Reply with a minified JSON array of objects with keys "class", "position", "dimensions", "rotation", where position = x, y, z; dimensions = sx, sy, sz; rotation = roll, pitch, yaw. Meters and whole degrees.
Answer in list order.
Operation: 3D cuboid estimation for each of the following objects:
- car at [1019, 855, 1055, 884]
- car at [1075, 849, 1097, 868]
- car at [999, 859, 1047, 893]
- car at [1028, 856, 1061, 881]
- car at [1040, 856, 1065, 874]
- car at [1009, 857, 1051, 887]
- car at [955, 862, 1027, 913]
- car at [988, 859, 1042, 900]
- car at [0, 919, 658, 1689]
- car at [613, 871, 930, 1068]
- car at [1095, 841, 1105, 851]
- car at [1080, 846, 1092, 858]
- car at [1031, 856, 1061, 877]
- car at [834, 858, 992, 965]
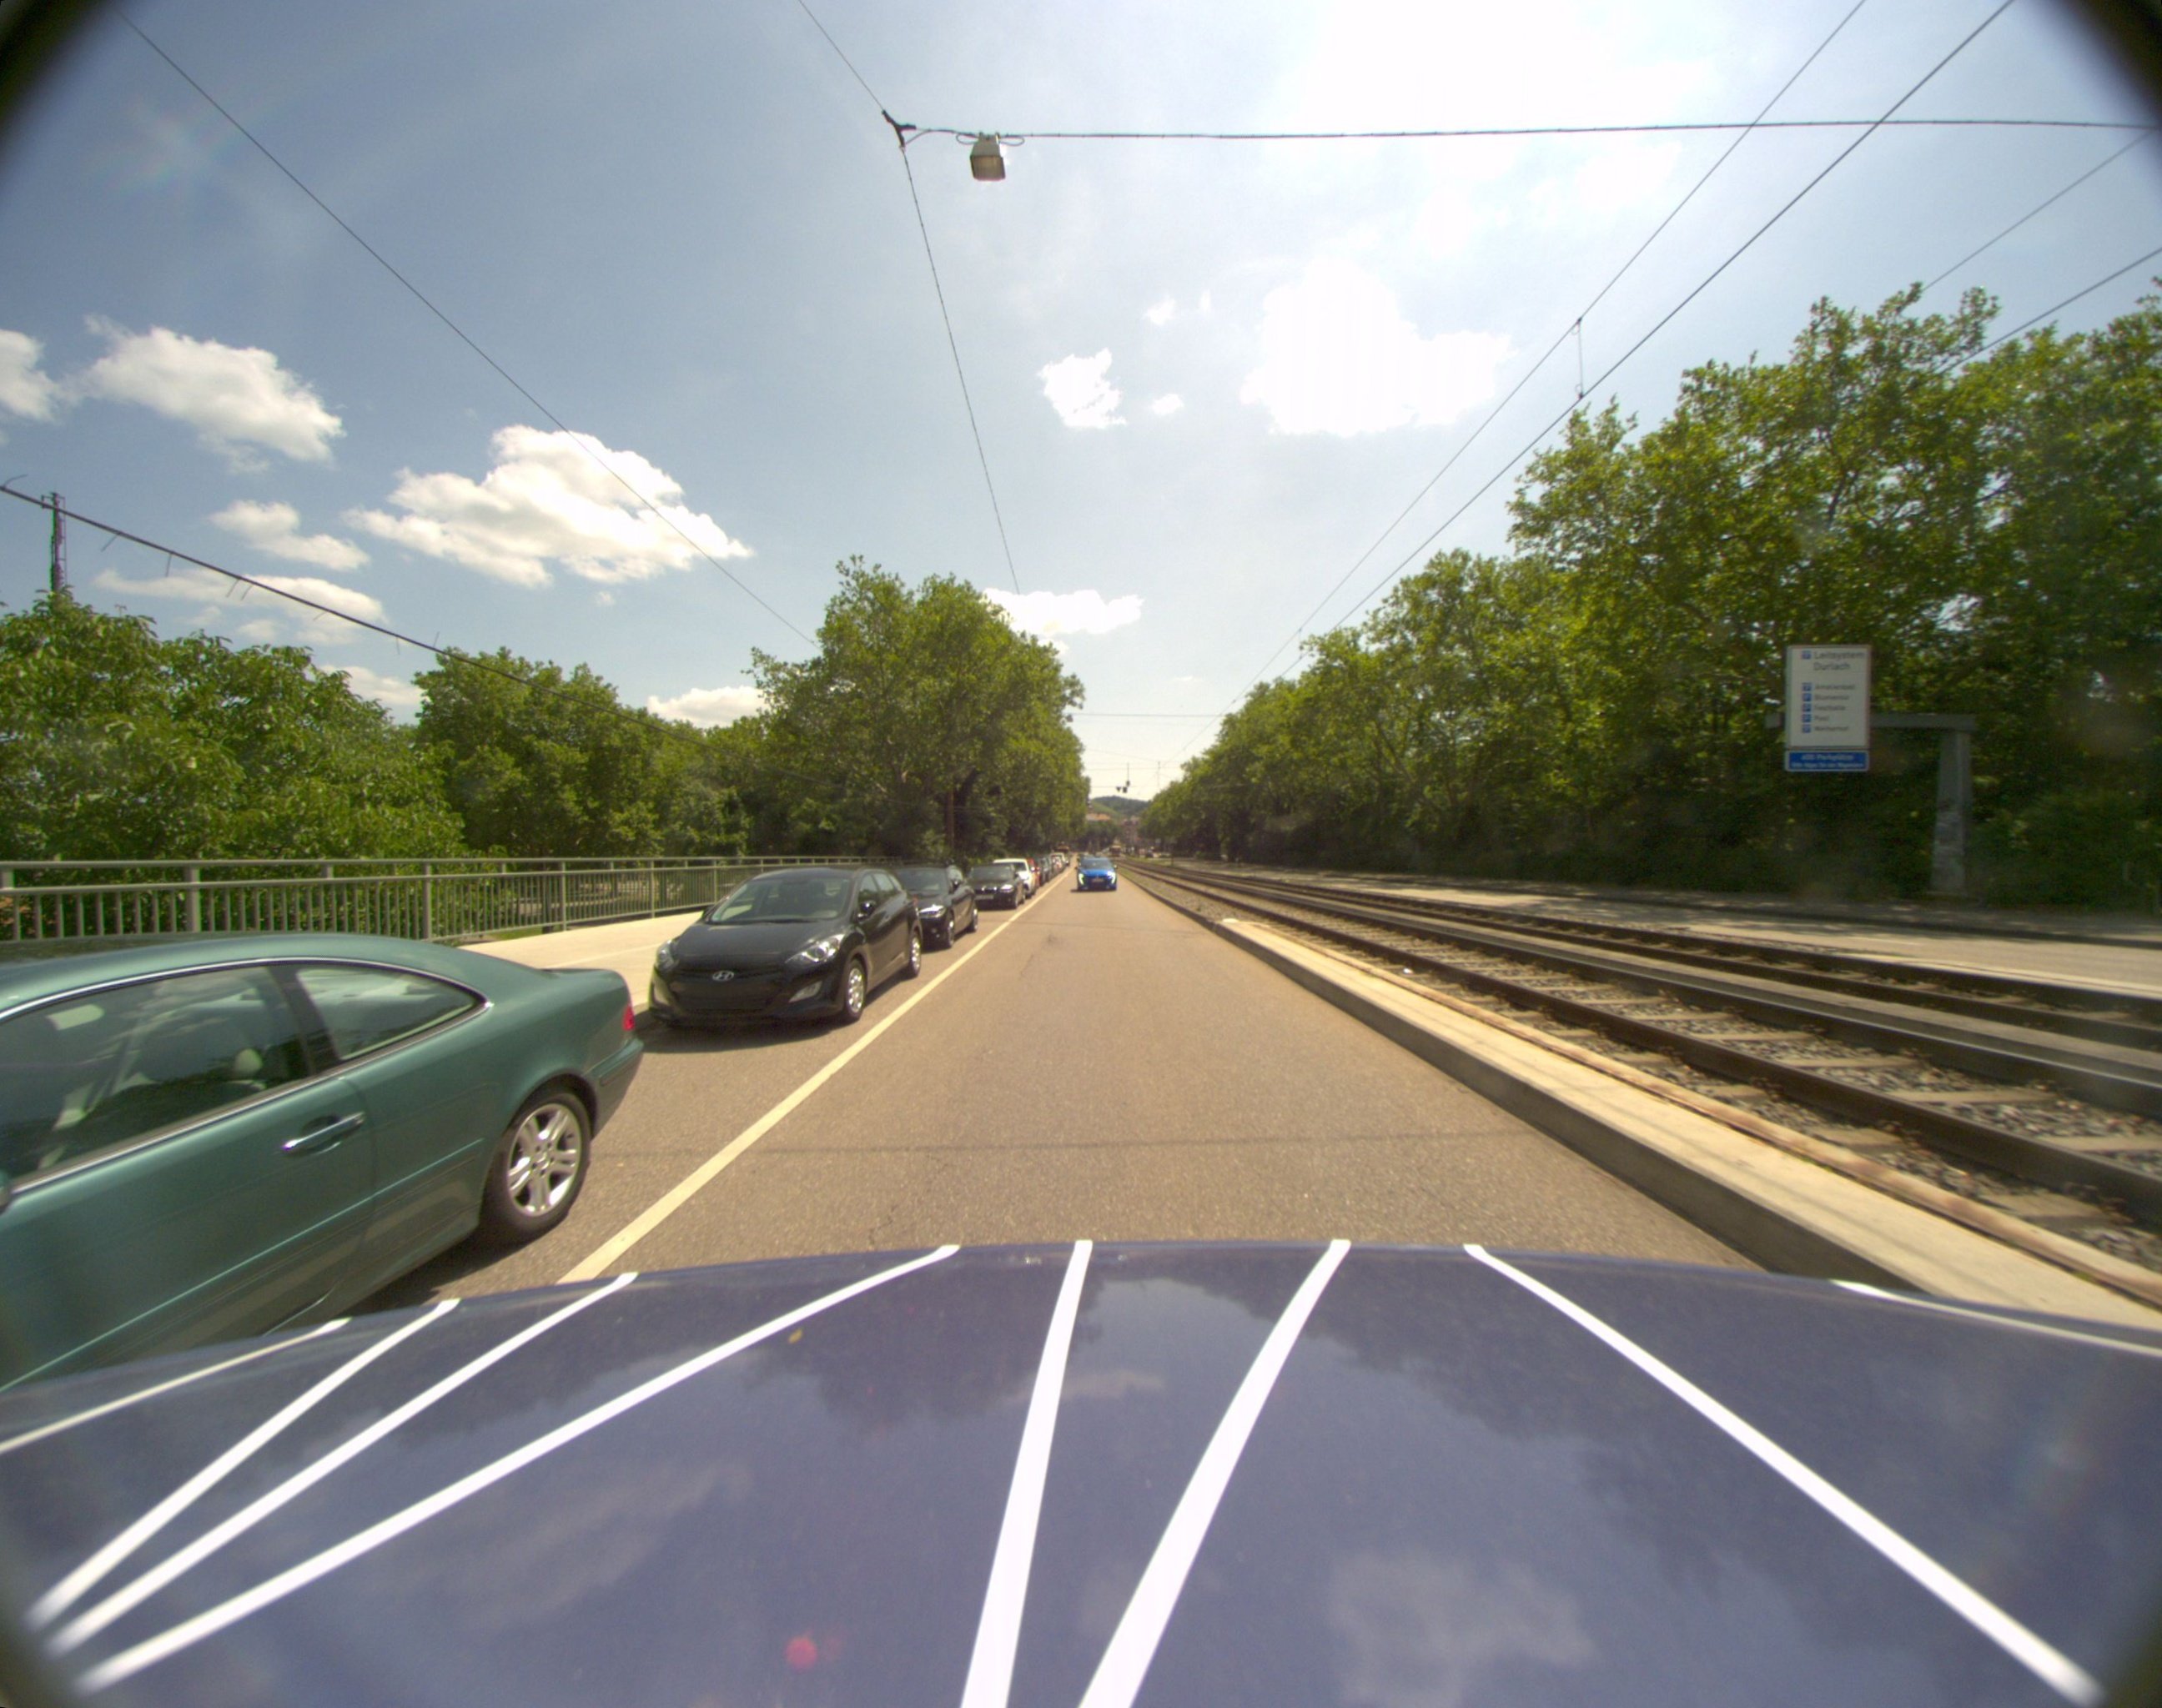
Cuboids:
[{"class":"car","position":[-2.644,0.930,46.775],"dimensions":[1.798,1.614,4.246],"rotation":[-2,0,2]},{"class":"car","position":[0.504,0.439,72.707],"dimensions":[1.796,1.726,3.768],"rotation":[-3,0,3]},{"class":"car","position":[-2.724,1.003,36.691],"dimensions":[1.829,1.423,4.246],"rotation":[-2,0,2]},{"class":"car","position":[-2.423,0.962,51.280],"dimensions":[1.829,1.422,4.246],"rotation":[-5,0,2]},{"class":"car","position":[-2.381,0.893,64.901],"dimensions":[1.829,1.423,4.246],"rotation":[-2,0,2]},{"class":"car","position":[-2.732,0.954,41.696],"dimensions":[1.829,1.423,4.246],"rotation":[-2,0,2]},{"class":"car","position":[-2.709,0.992,23.659],"dimensions":[1.759,1.382,3.699],"rotation":[-1,0,1]},{"class":"car","position":[-2.525,0.931,29.754],"dimensions":[1.683,1.423,4.159],"rotation":[-1,0,1]},{"class":"car","position":[-3.074,1.056,1.724],"dimensions":[1.689,1.351,4.592],"rotation":[-2,0,-1]},{"class":"car","position":[-2.946,0.986,8.370],"dimensions":[1.639,1.445,4.388],"rotation":[-2,0,0]},{"class":"car","position":[3.855,-1.644,156.736],"dimensions":[1.998,2.002,3.999],"rotation":[-2,1,1]},{"class":"car","position":[0.919,-0.373,142.975],"dimensions":[1.998,2.002,4.000],"rotation":[-2,1,2]},{"class":"car","position":[-2.552,0.906,56.516],"dimensions":[1.829,1.423,4.246],"rotation":[-2,0,2]},{"class":"car","position":[-2.929,0.932,14.193],"dimensions":[1.829,1.549,4.159],"rotation":[-3,0,2]}]
